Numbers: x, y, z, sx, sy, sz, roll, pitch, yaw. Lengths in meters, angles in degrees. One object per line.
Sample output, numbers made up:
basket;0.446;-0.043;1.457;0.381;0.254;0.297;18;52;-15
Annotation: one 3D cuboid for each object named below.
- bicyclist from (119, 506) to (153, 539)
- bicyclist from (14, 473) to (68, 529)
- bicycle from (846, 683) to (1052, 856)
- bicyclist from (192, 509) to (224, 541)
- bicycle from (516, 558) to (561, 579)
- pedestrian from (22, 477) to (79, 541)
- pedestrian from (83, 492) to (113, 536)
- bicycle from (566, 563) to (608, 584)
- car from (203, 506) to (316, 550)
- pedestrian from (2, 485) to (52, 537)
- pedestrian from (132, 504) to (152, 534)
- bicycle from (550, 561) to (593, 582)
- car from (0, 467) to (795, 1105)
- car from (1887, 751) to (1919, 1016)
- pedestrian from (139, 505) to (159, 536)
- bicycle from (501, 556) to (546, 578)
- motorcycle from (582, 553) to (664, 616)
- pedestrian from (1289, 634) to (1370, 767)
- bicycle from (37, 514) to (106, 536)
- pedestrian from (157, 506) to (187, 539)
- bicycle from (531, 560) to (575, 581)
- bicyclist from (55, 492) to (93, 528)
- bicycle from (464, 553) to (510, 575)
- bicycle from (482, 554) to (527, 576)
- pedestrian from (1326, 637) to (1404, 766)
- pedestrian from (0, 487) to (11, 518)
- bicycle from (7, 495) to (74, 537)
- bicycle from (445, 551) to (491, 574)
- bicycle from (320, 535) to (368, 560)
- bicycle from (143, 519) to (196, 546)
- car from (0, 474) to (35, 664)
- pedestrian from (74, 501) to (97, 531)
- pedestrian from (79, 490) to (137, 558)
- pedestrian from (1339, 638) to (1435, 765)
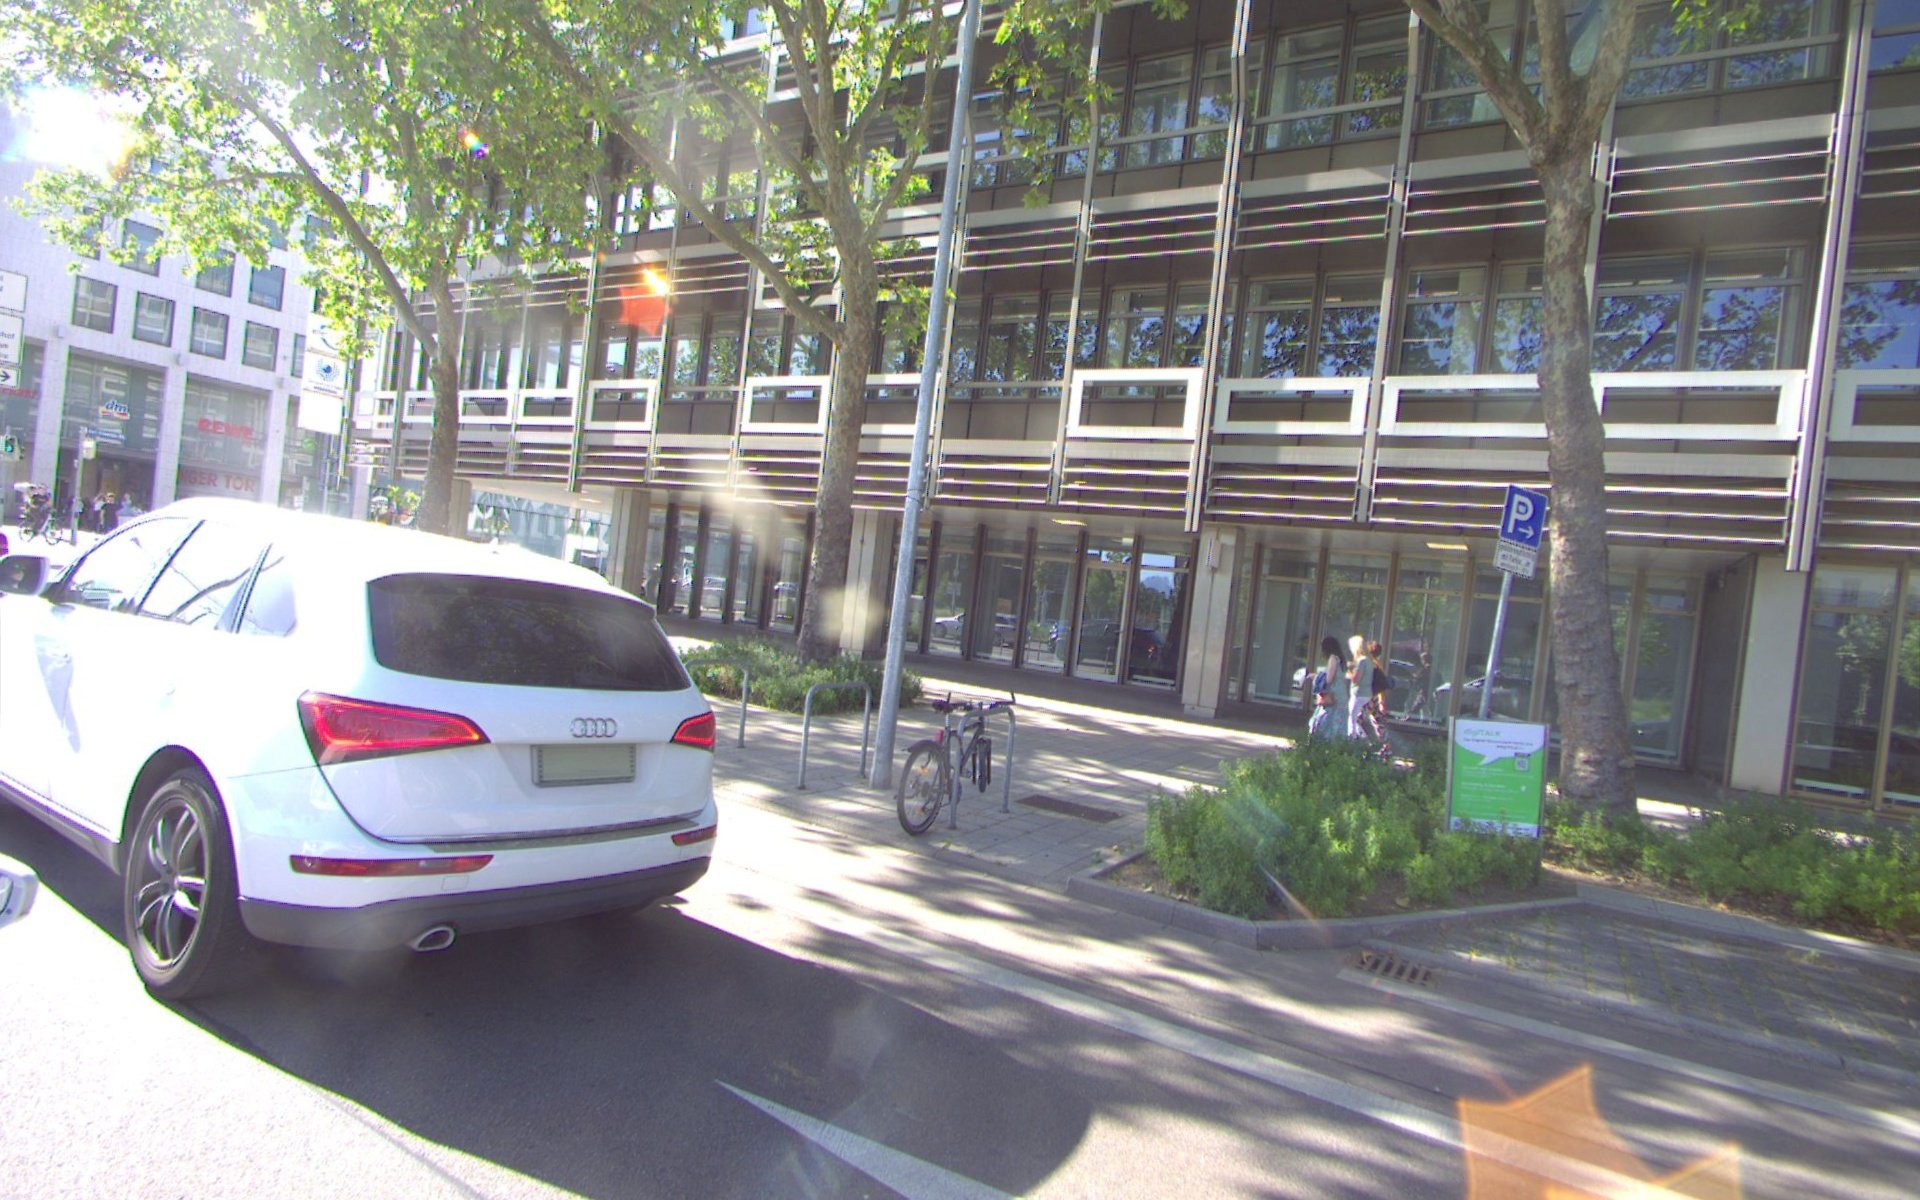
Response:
bicyclist;-40.338;-3.798;49.234;1.059;1.413;0.933;7;1;35
bicyclist;-27.366;-2.930;29.958;0.869;1.495;0.882;7;1;31
bicycle;-0.017;1.198;7.603;0.699;0.973;1.846;7;2;26
bicyclist;-38.673;-3.869;51.761;1.024;1.451;0.933;7;1;35
bicycle;-29.706;-2.226;70.867;3.441;1.107;1.067;7;0;34
pedestrian;-31.994;-3.204;35.409;1.059;2.038;0.949;7;0;20
pedestrian;-33.416;-3.324;39.001;0.517;1.634;0.661;6;2;22
bicycle;-27.500;-1.954;74.141;3.441;1.107;1.067;7;0;34
car;-35.005;-3.570;50.399;1.831;1.632;4.189;5;-1;33
pedestrian;-35.999;-3.444;38.818;1.497;1.825;0.967;7;2;31
pedestrian;-50.409;-4.990;61.987;0.639;1.785;0.556;7;1;-5
bicycle;-28.042;-2.064;72.567;3.441;1.107;1.067;7;0;34
car;-3.086;0.396;4.625;4.340;1.633;1.822;7;0;32
car;7.348;1.846;4.359;4.484;1.509;1.749;7;1;31
pedestrian;-50.498;-4.953;62.645;0.639;1.785;0.556;7;1;-5
bicycle;-30.291;-2.290;69.781;3.441;1.107;1.067;7;0;34
motorcycle;-9.158;-0.429;27.302;2.087;1.459;0.824;7;1;32
pedestrian;4.853;1.289;13.220;0.716;1.622;0.666;7;3;32
bicycle;-41.506;-3.491;47.010;1.055;0.679;2.194;7;0;35
pedestrian;-44.535;-4.366;56.852;0.846;1.705;0.978;7;1;29
bicycle;-29.100;-2.106;71.869;3.441;1.107;1.067;7;0;34
bicyclist;-41.415;-4.191;47.038;1.055;1.494;1.022;7;1;35
bicycle;-31.673;-2.425;67.337;3.441;1.107;1.067;7;0;34
bicycle;-31.149;-2.399;68.718;3.441;1.107;1.067;7;0;34
pedestrian;5.514;1.350;13.677;0.716;1.622;0.666;7;3;32
pedestrian;-51.883;-5.302;54.282;0.547;1.628;0.748;8;1;30
bicycle;-27.345;-2.496;29.921;2.017;0.997;0.882;7;0;31
bicycle;-32.551;-2.489;66.529;3.441;1.107;1.067;7;0;34
bicycle;-36.845;-3.135;60.167;3.441;1.107;1.067;7;0;34
bicycle;-41.559;-3.551;52.858;3.440;1.107;1.067;7;0;33
car;-10.904;-0.556;9.670;4.340;1.720;1.787;7;0;32
pedestrian;-51.920;-4.969;59.747;0.737;1.628;0.556;7;1;-6
pedestrian;-28.327;-2.523;33.458;1.060;2.038;0.949;7;1;24
pedestrian;6.034;1.405;14.226;0.992;1.622;0.666;7;3;32
